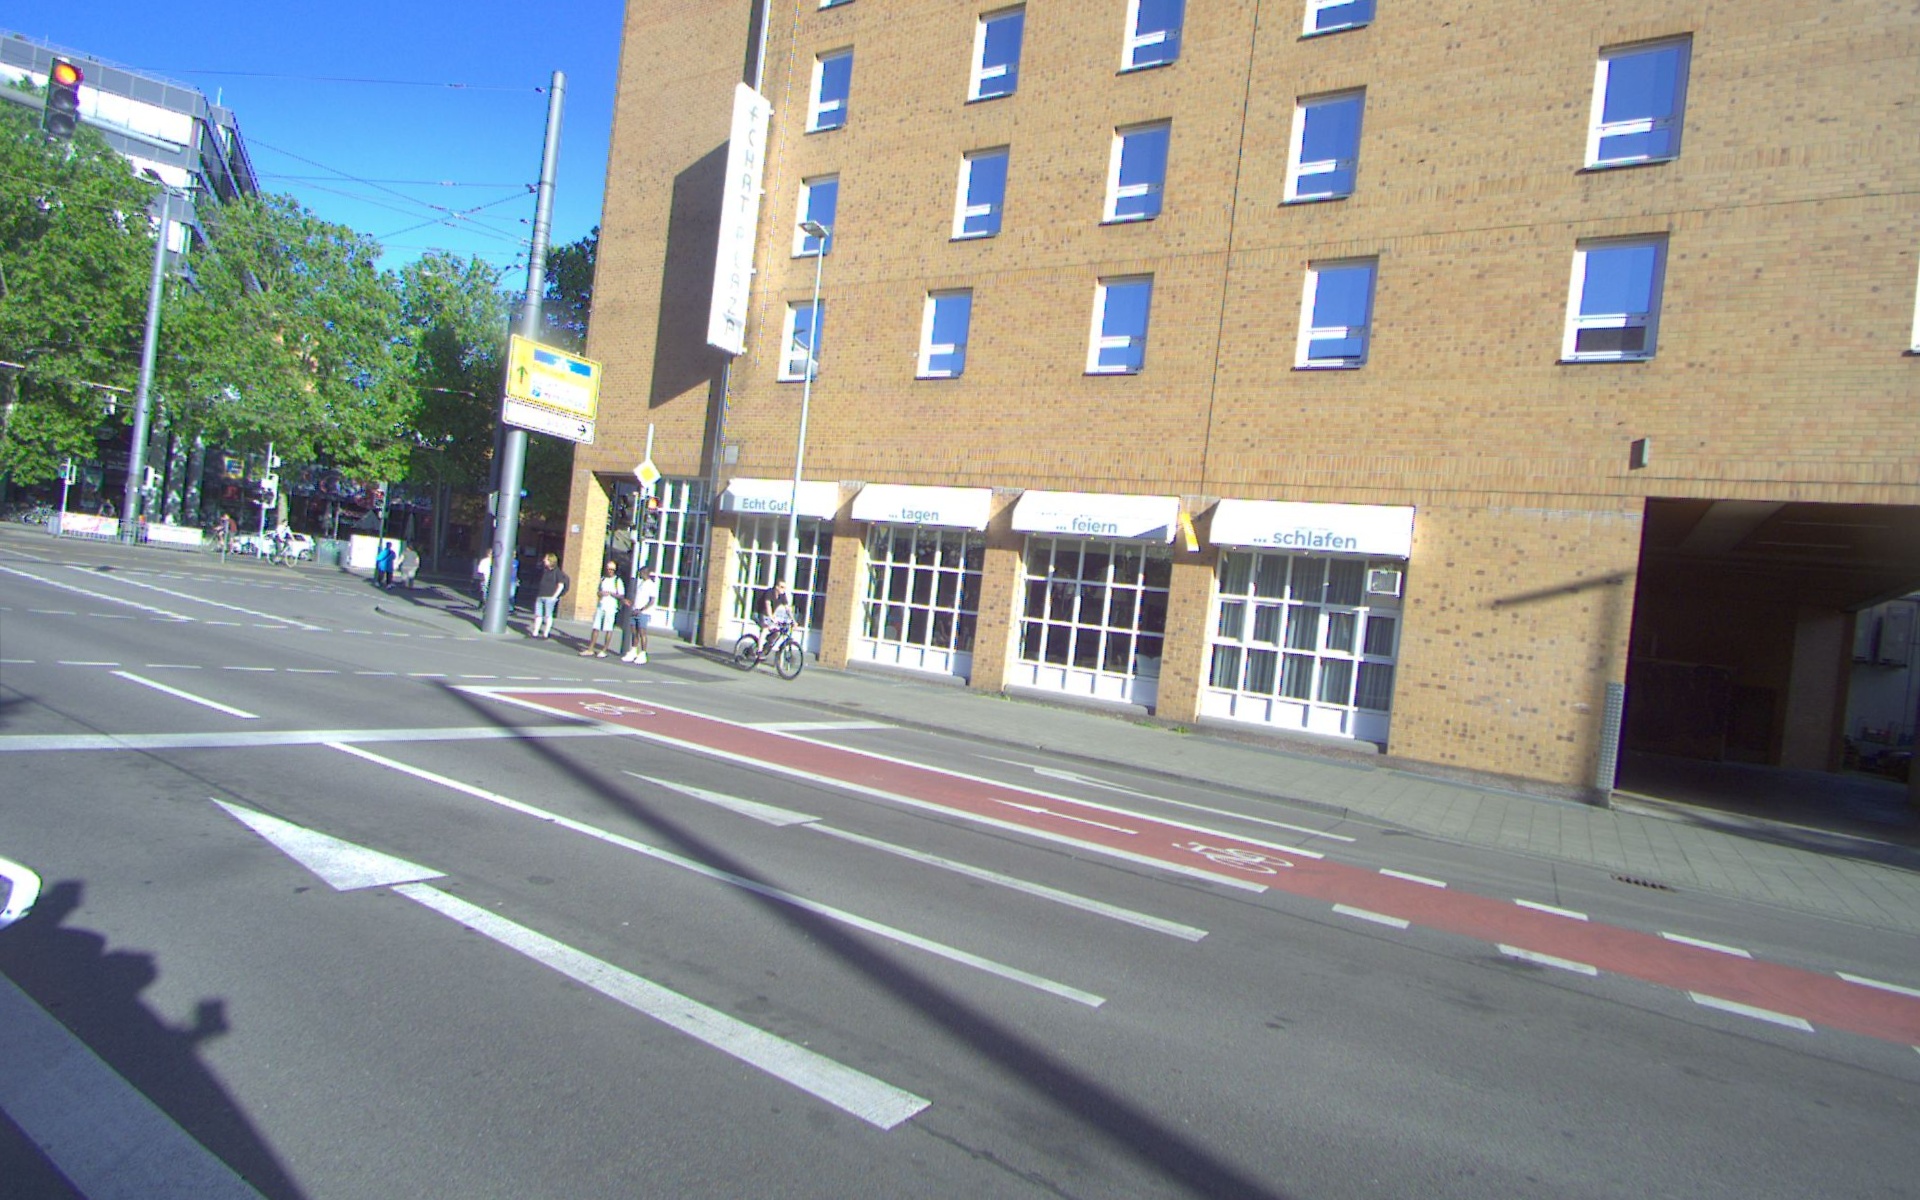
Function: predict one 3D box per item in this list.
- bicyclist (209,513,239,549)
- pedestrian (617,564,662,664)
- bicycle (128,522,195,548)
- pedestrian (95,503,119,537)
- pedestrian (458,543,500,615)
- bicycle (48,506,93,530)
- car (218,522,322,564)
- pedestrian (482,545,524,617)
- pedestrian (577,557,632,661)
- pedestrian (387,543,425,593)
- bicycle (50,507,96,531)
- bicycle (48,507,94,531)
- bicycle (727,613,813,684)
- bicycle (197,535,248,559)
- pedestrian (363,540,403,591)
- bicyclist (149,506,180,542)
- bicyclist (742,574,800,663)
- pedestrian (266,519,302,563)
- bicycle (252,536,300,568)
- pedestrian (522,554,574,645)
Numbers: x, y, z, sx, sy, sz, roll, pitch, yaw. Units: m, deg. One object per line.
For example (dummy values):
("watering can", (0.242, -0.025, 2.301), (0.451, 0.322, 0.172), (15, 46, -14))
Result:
("bicyclist", (-36.280, -3.393, 49.577), (0.627, 1.635, 0.926), (7, 0, 35))
("pedestrian", (-5.972, 0.263, 18.742), (0.571, 1.797, 0.403), (7, 2, 40))
("bicycle", (-48.192, -3.926, 60.719), (3.033, 1.126, 0.825), (8, -1, -44))
("pedestrian", (-51.116, -4.790, 60.258), (0.845, 1.873, 0.799), (10, -2, -44))
("pedestrian", (-12.139, -0.520, 25.397), (0.650, 1.723, 0.560), (6, -1, 43))
("bicycle", (-46.644, -4.274, 52.747), (1.700, 0.998, 0.386), (7, 0, -45))
("car", (-36.305, -2.970, 53.011), (1.969, 1.503, 3.990), (6, -3, 36))
("pedestrian", (-11.721, -0.498, 25.809), (0.594, 1.747, 0.601), (6, -1, 42))
("pedestrian", (-6.684, 0.166, 18.917), (0.719, 1.857, 0.497), (5, 2, -3))
("pedestrian", (-18.779, -1.075, 34.110), (0.729, 1.557, 0.652), (7, -1, 24))
("bicycle", (-45.390, -4.148, 51.501), (1.700, 0.998, 0.386), (7, 0, -45))
("bicycle", (-46.010, -4.174, 52.083), (1.700, 0.998, 0.386), (7, 0, -45))
("bicycle", (-3.544, 0.871, 18.654), (0.598, 1.065, 1.857), (1, 5, -44))
("bicycle", (-36.385, -2.612, 49.624), (0.642, 0.921, 1.854), (7, -1, 36))
("pedestrian", (-19.162, -1.135, 33.402), (0.729, 1.557, 0.677), (7, -1, 24))
("bicyclist", (-48.078, -4.579, 60.801), (1.223, 1.955, 0.825), (7, 0, -44))
("bicyclist", (-3.501, 0.337, 18.620), (0.576, 1.536, 0.839), (1, 6, -44))
("pedestrian", (-27.267, -2.368, 40.585), (0.824, 1.612, 0.771), (6, -1, 31))
("bicycle", (-27.540, -1.935, 40.512), (1.891, 1.064, 0.791), (6, -2, 32))
("pedestrian", (-8.517, -0.006, 20.823), (0.683, 1.789, 0.573), (8, 0, -9))
